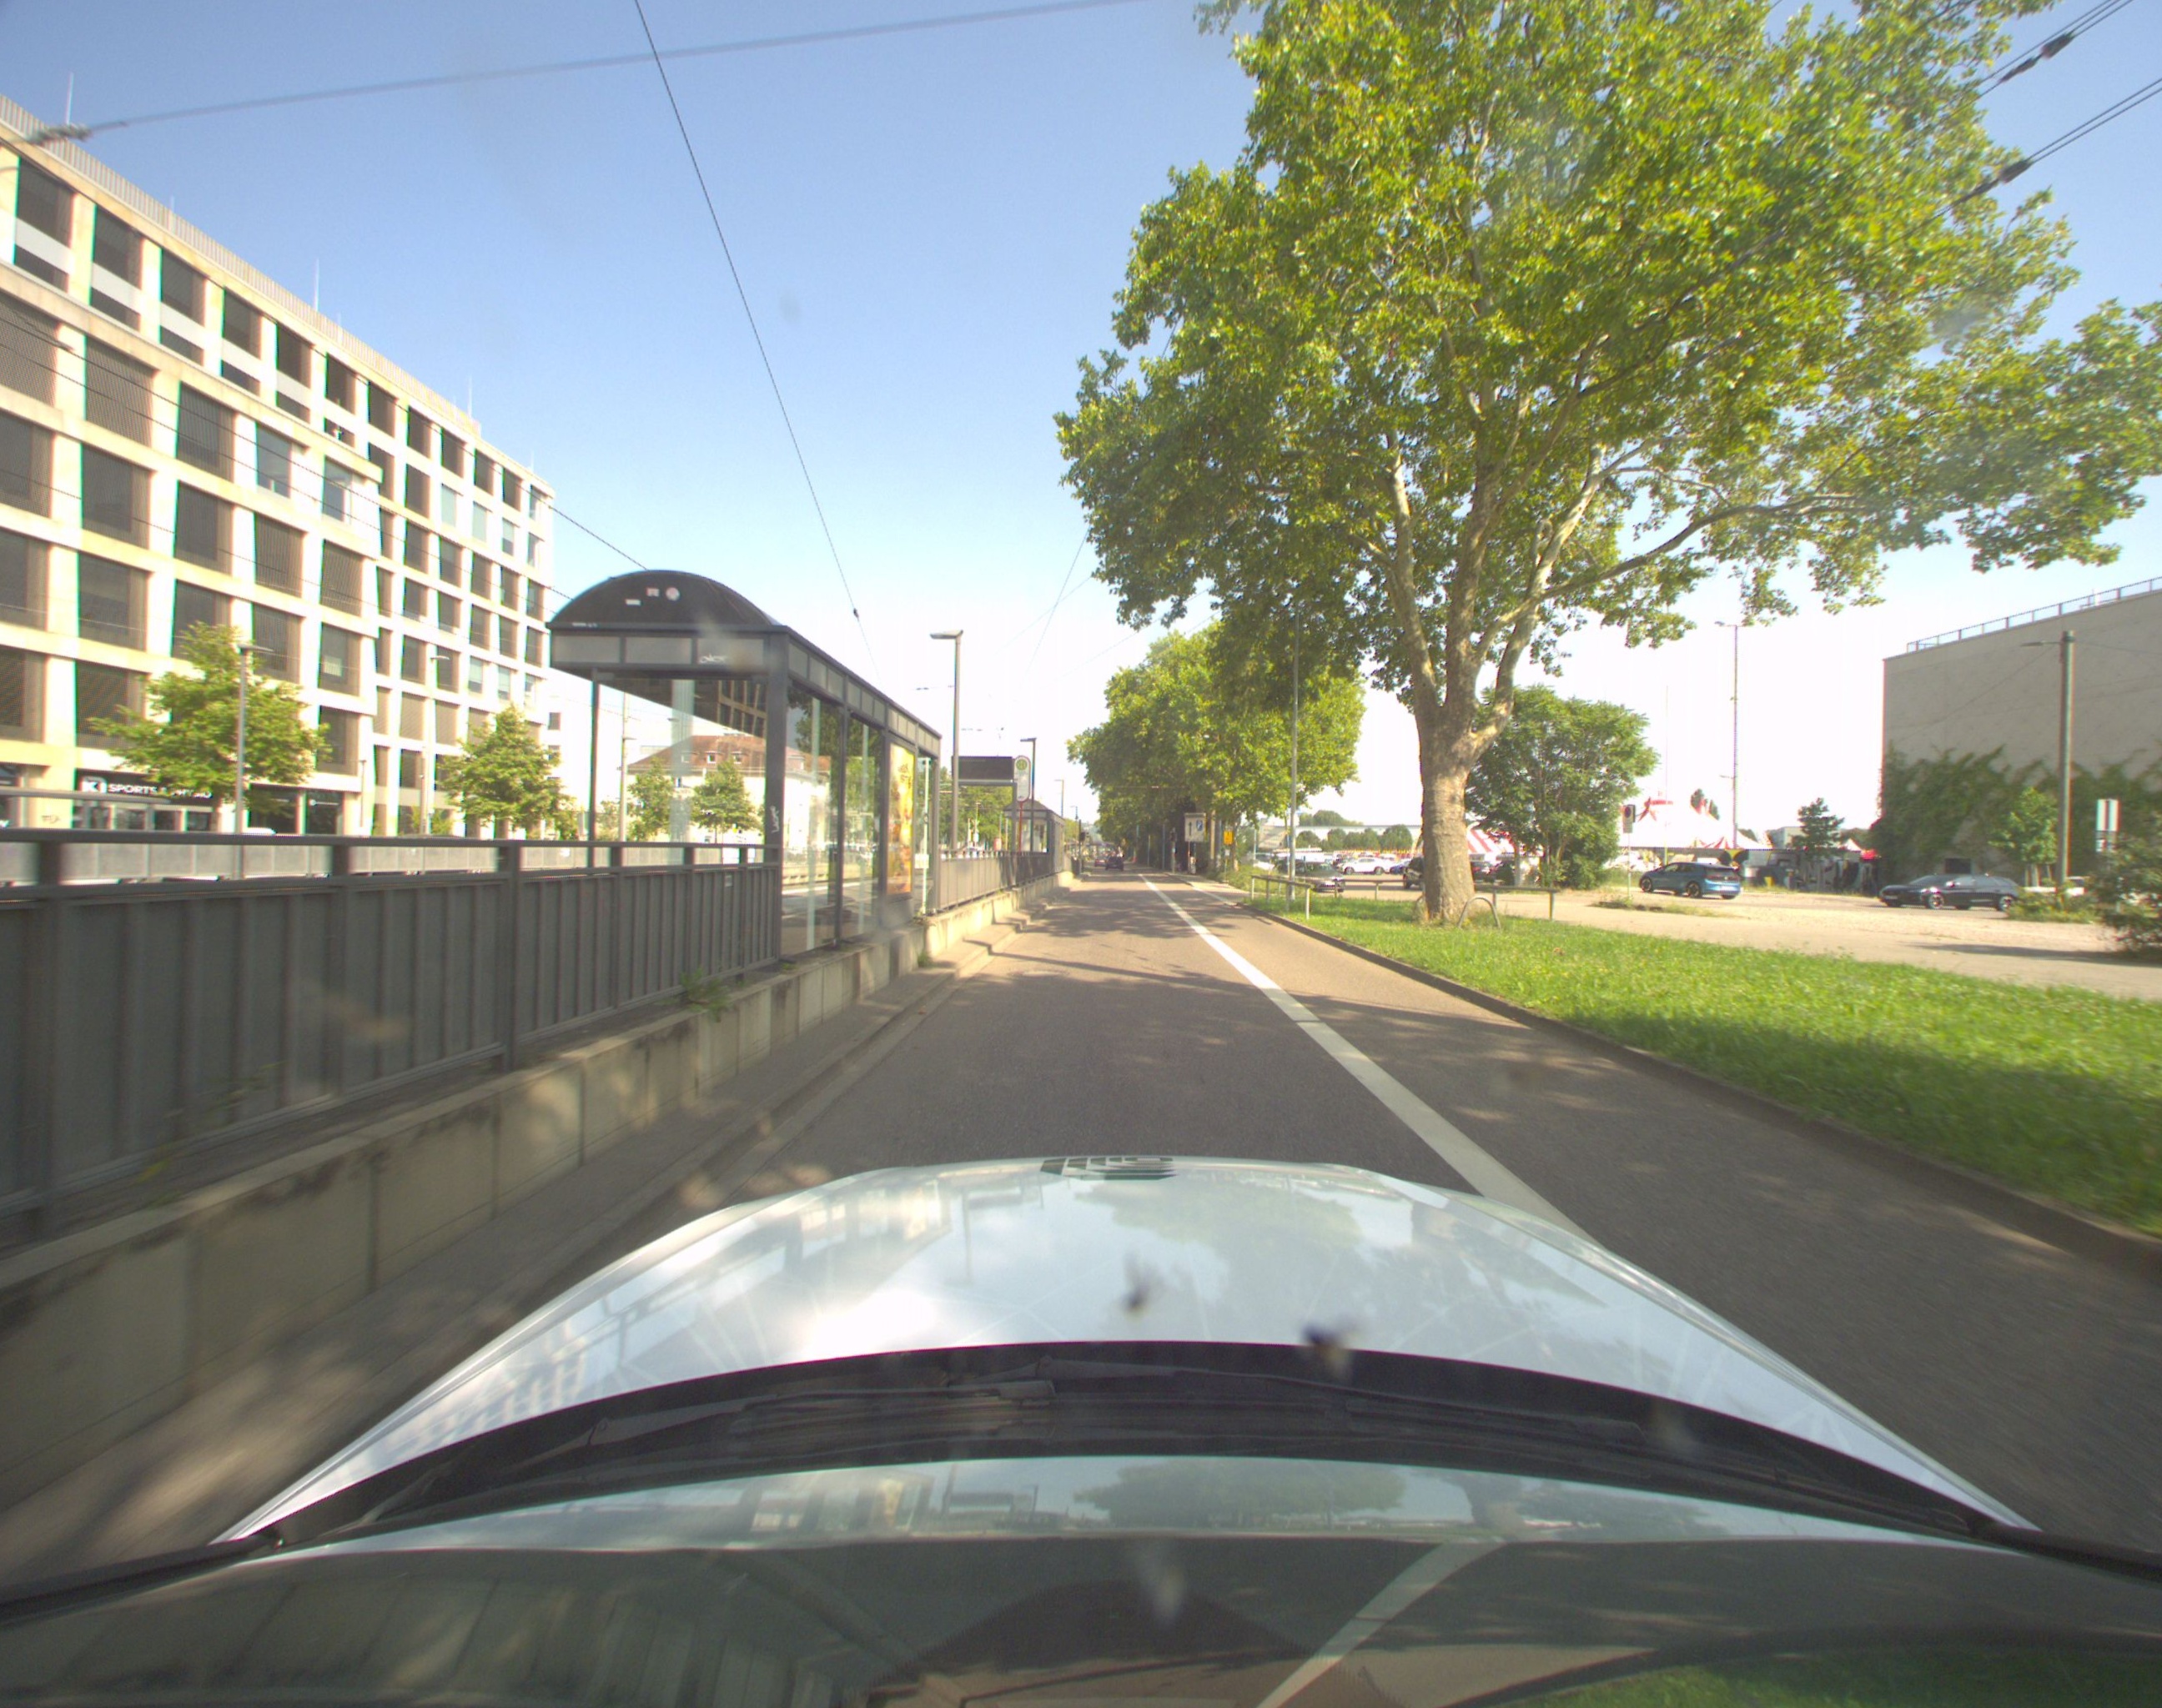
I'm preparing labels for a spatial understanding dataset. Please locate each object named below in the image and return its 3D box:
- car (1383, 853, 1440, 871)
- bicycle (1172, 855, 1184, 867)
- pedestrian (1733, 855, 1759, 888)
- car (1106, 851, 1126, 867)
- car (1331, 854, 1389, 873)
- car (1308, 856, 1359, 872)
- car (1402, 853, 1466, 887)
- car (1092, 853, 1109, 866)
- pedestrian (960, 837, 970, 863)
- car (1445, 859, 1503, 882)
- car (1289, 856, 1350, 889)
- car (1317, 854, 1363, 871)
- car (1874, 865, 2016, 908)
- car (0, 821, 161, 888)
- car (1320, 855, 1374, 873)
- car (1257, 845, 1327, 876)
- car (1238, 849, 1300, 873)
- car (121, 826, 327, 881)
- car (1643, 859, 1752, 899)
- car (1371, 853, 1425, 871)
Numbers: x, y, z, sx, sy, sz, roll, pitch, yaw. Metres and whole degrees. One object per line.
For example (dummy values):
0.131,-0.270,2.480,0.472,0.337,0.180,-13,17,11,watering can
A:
29.781,0.687,73.385,4.330,1.464,1.947,2,0,-1,car
8.044,0.574,67.762,0.608,1.022,2.400,1,0,-2,bicycle
32.806,0.867,40.204,0.920,1.643,0.706,-1,-1,34,pedestrian
3.423,0.510,80.274,1.900,1.537,4.001,-1,0,1,car
24.109,0.830,70.519,4.330,1.464,1.947,2,0,-1,car
24.388,0.969,78.714,4.330,1.464,1.947,2,0,-1,car
17.231,0.768,39.923,1.601,1.575,3.798,0,0,2,car
2.324,0.657,99.738,1.966,1.537,4.001,-2,0,1,car
-8.273,-0.255,58.073,0.707,1.821,0.771,0,-1,-8,pedestrian
25.158,1.026,52.308,1.807,1.395,4.118,1,0,1,car
11.237,0.849,38.731,1.721,1.448,4.553,0,0,2,car
27.868,0.890,87.808,4.330,1.712,1.947,2,0,-1,car
34.002,1.264,32.128,3.772,1.485,1.746,2,0,0,car
-24.472,0.011,18.881,1.705,1.446,4.008,0,0,0,car
24.075,0.890,73.821,4.330,1.464,1.947,2,0,-1,car
13.487,0.435,52.192,4.084,1.918,1.850,-1,0,4,car
13.281,0.478,57.702,3.973,1.586,2.000,1,0,0,car
-24.619,-0.014,23.636,1.705,1.446,4.008,0,0,0,car
27.305,1.060,36.245,1.700,1.575,3.952,2,0,-4,car
29.881,0.746,76.786,4.330,1.464,1.947,2,0,-1,car
